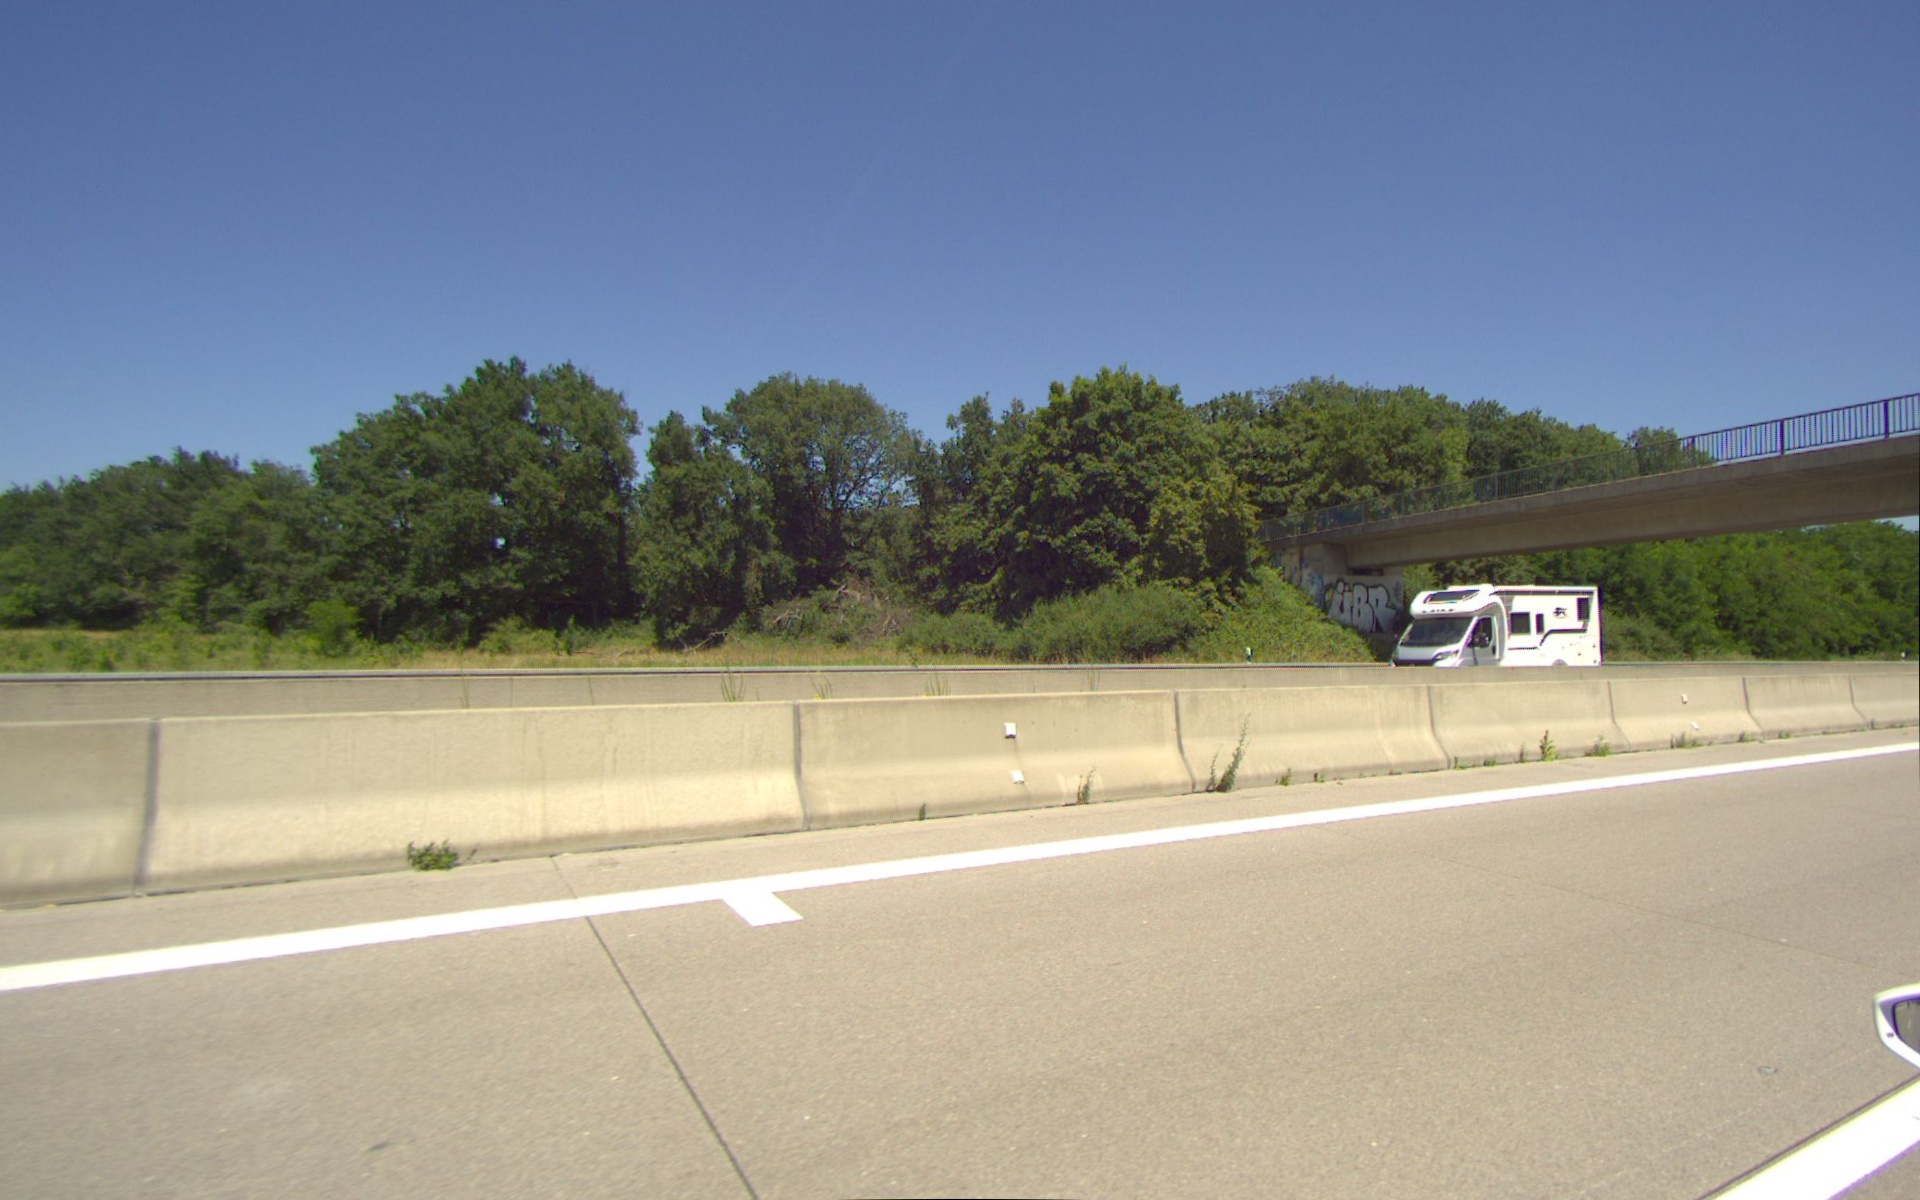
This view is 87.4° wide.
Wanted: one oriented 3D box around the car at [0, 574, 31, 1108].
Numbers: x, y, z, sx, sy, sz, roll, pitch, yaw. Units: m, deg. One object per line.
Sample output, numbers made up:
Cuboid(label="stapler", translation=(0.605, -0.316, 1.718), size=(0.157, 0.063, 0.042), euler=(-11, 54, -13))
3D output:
Cuboid(label="car", translation=(-4.686, 0.607, 0.738), size=(5.537, 1.493, 1.882), euler=(1, -1, -30))

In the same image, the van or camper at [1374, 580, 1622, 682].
Cuboid(label="van or camper", translation=(14.704, 0.829, 27.223), size=(7.711, 2.476, 2.238), euler=(2, 0, -31))
